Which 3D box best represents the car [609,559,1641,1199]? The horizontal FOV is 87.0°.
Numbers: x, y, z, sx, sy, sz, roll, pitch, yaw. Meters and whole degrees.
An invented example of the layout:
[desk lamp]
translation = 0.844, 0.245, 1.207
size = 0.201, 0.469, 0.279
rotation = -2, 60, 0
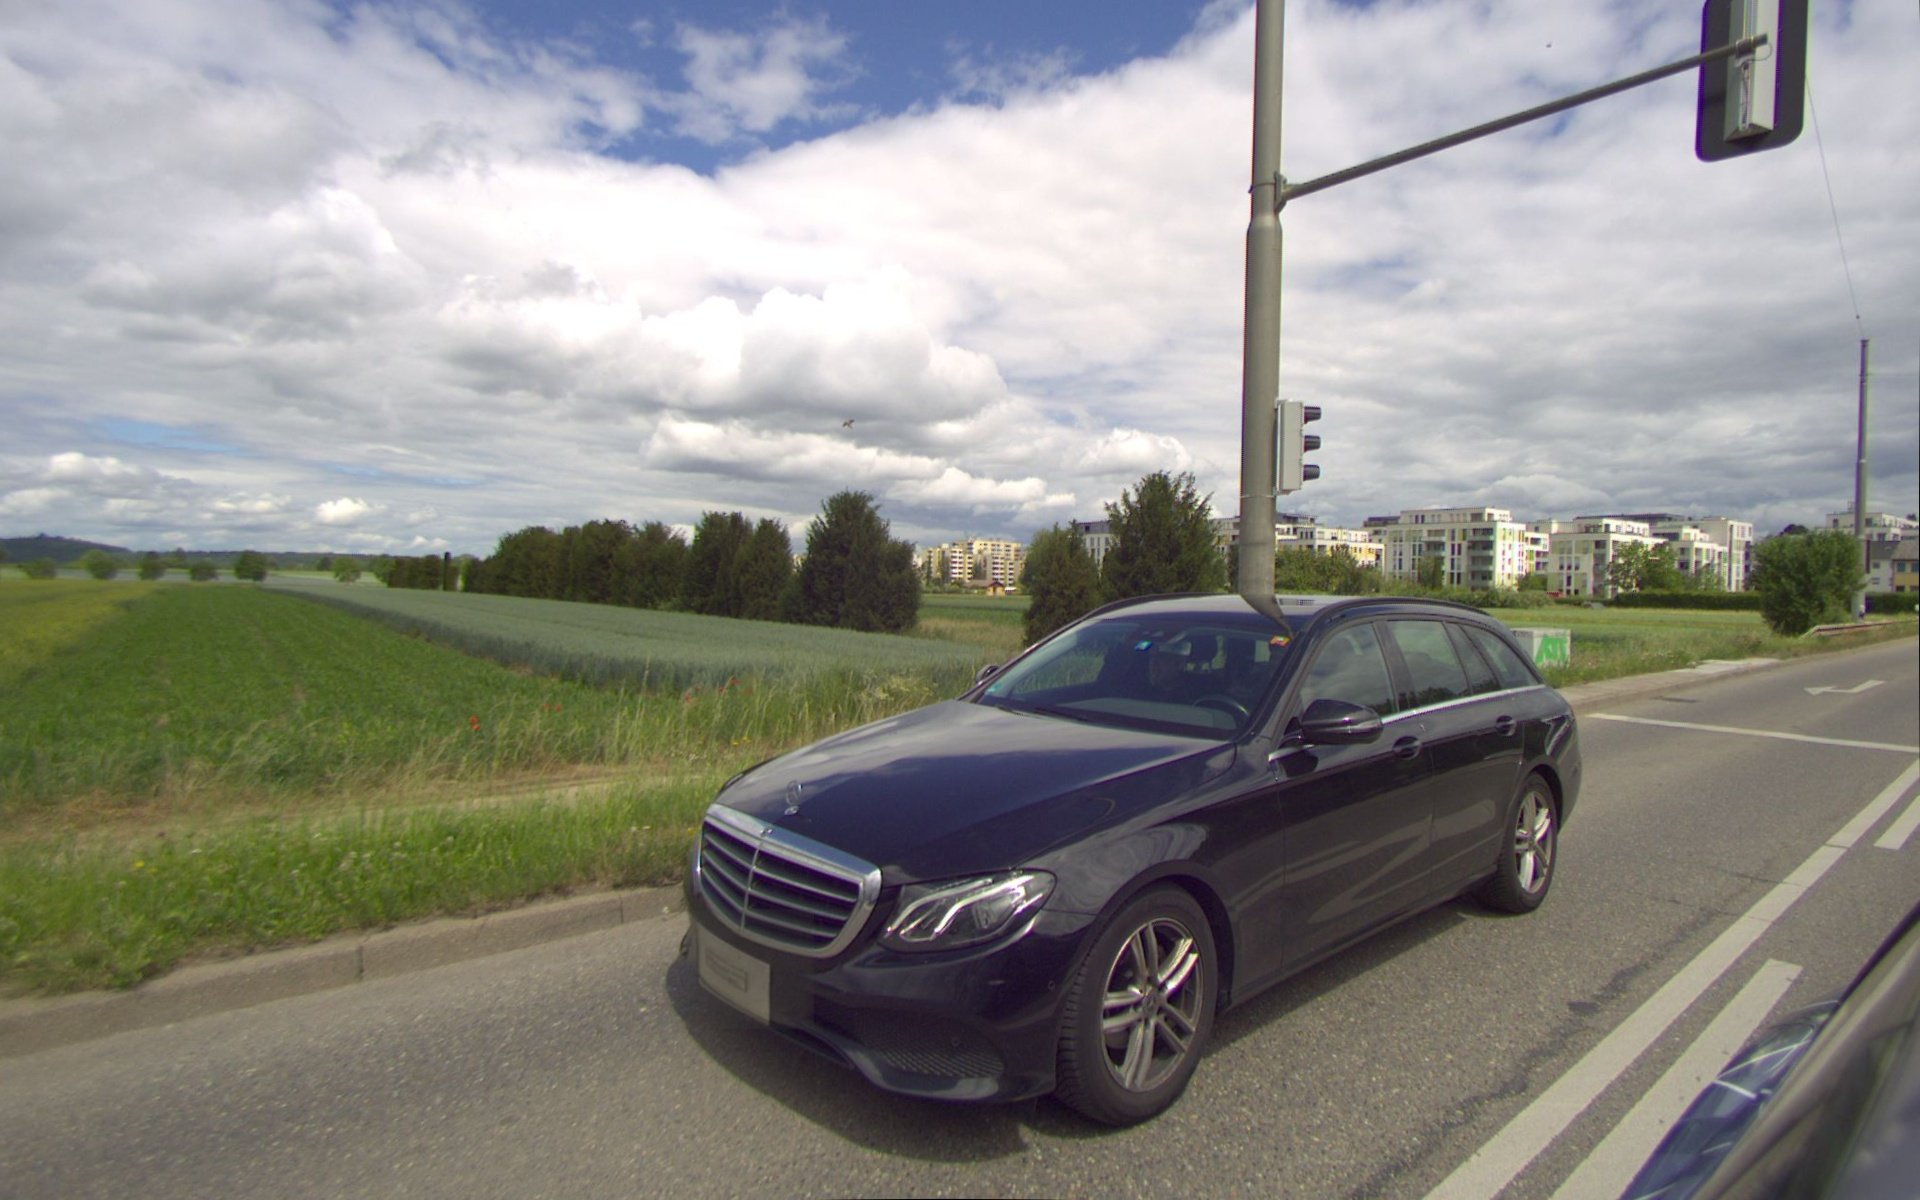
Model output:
[car]
translation = 1.259, 0.612, 4.648
size = 5.110, 1.458, 1.876
rotation = 0, 1, -42
